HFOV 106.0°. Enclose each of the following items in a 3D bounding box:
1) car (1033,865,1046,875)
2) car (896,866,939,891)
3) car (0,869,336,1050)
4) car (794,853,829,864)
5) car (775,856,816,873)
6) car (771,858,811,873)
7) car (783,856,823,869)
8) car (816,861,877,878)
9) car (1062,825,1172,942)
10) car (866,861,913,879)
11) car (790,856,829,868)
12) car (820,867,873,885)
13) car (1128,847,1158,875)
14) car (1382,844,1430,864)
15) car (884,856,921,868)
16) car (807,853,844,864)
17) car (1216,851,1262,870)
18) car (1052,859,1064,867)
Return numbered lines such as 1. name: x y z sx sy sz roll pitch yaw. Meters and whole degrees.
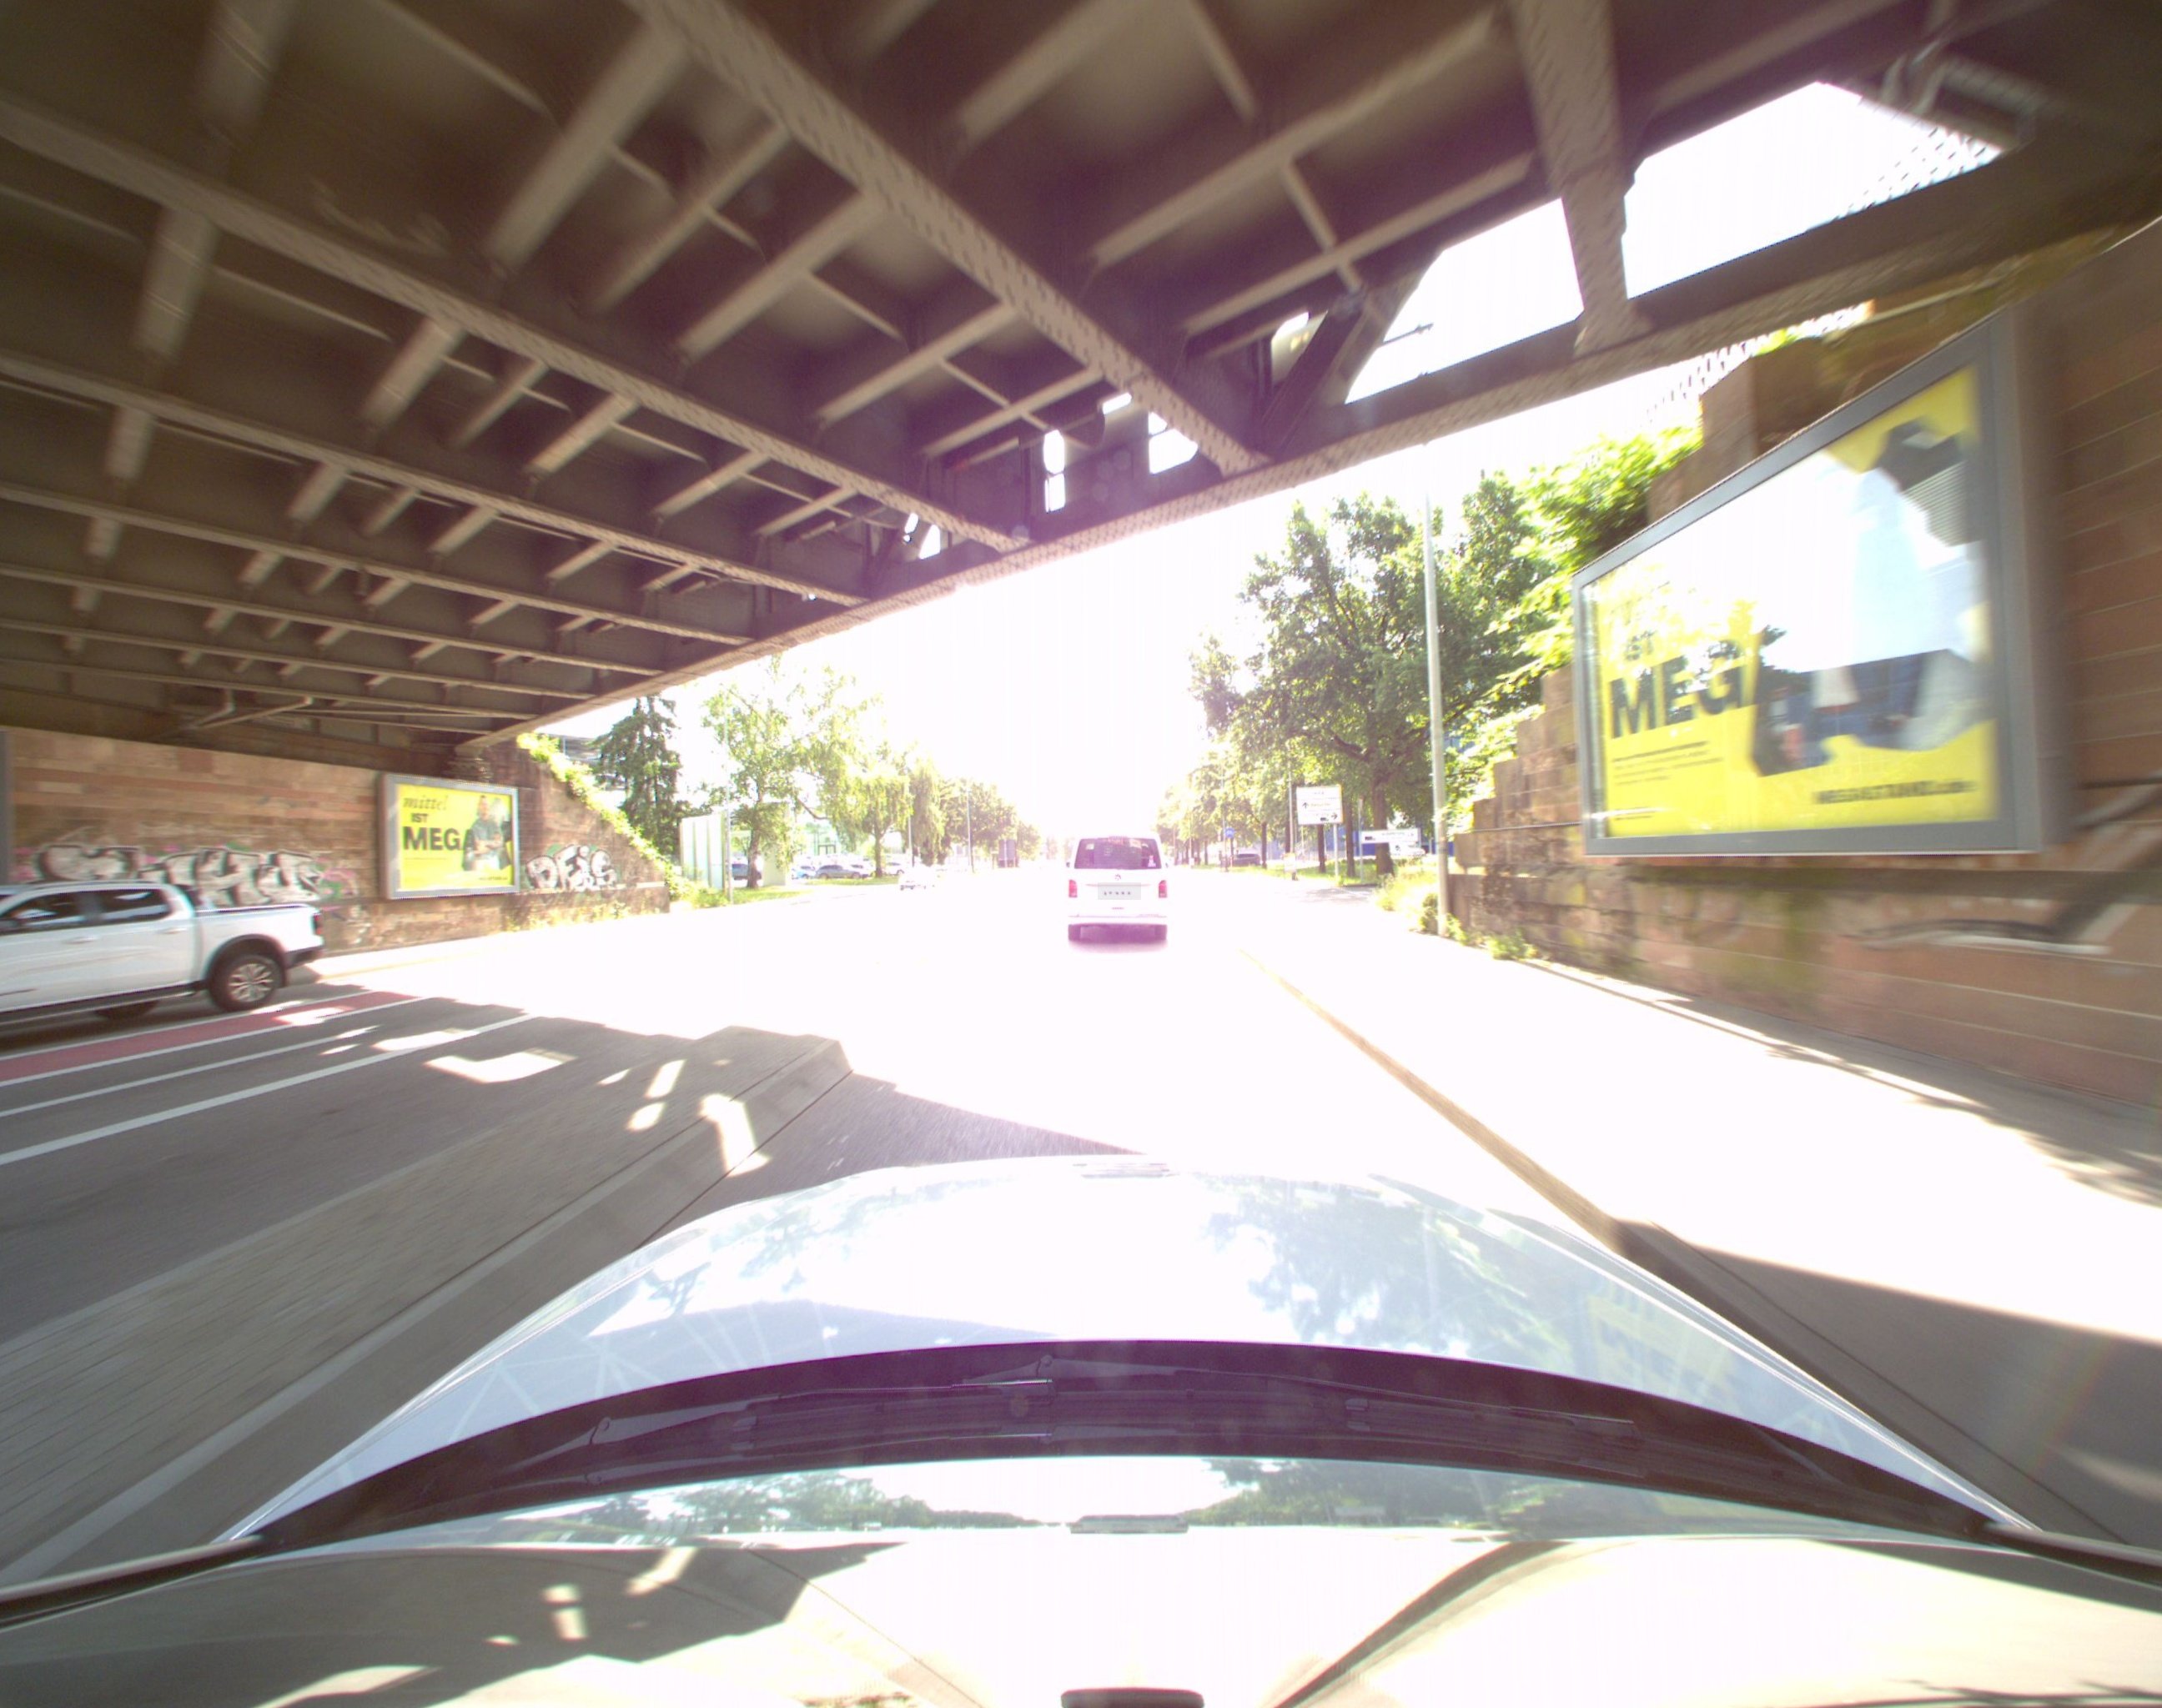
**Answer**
1. car: -6.659 2.570 129.852 1.691 1.519 4.028 -3 -1 1
2. car: -10.290 1.510 51.608 1.629 1.388 4.320 -3 -1 2
3. car: -12.337 1.196 9.554 1.986 1.861 5.452 -4 -1 1
4. car: -36.057 0.635 108.874 3.972 1.496 2.052 0 -1 1
5. car: -36.386 1.302 103.885 4.486 1.962 1.979 -2 -1 -1
6. car: -36.226 1.438 101.794 4.255 1.705 1.664 -2 -1 -1
7. car: -36.317 1.080 106.520 4.486 1.551 1.979 -2 -1 -1
8. car: -20.474 1.346 71.138 4.669 1.389 2.000 0 -1 1
9. car: 0.682 0.523 15.931 1.877 1.990 4.001 0 -1 2
10. car: -20.425 1.706 86.849 4.445 1.875 2.001 0 -1 2
11. car: -36.274 1.110 108.838 4.486 1.485 1.979 -2 -1 -1
12. car: -21.190 1.959 73.615 4.198 1.546 2.001 0 -1 1
13. car: 4.568 0.492 60.423 1.960 1.968 5.126 0 -1 1
14. car: 26.909 0.036 67.522 1.849 1.639 4.292 0 -1 -8
15. car: -20.018 0.939 91.628 3.779 1.285 1.744 0 -1 -1
16. car: -35.748 0.687 113.855 4.503 1.496 1.986 0 -1 1
17. car: 16.077 0.669 83.053 4.418 1.694 1.849 -3 -1 8
18. car: -5.085 1.950 181.682 1.984 1.618 4.110 -3 -1 6
